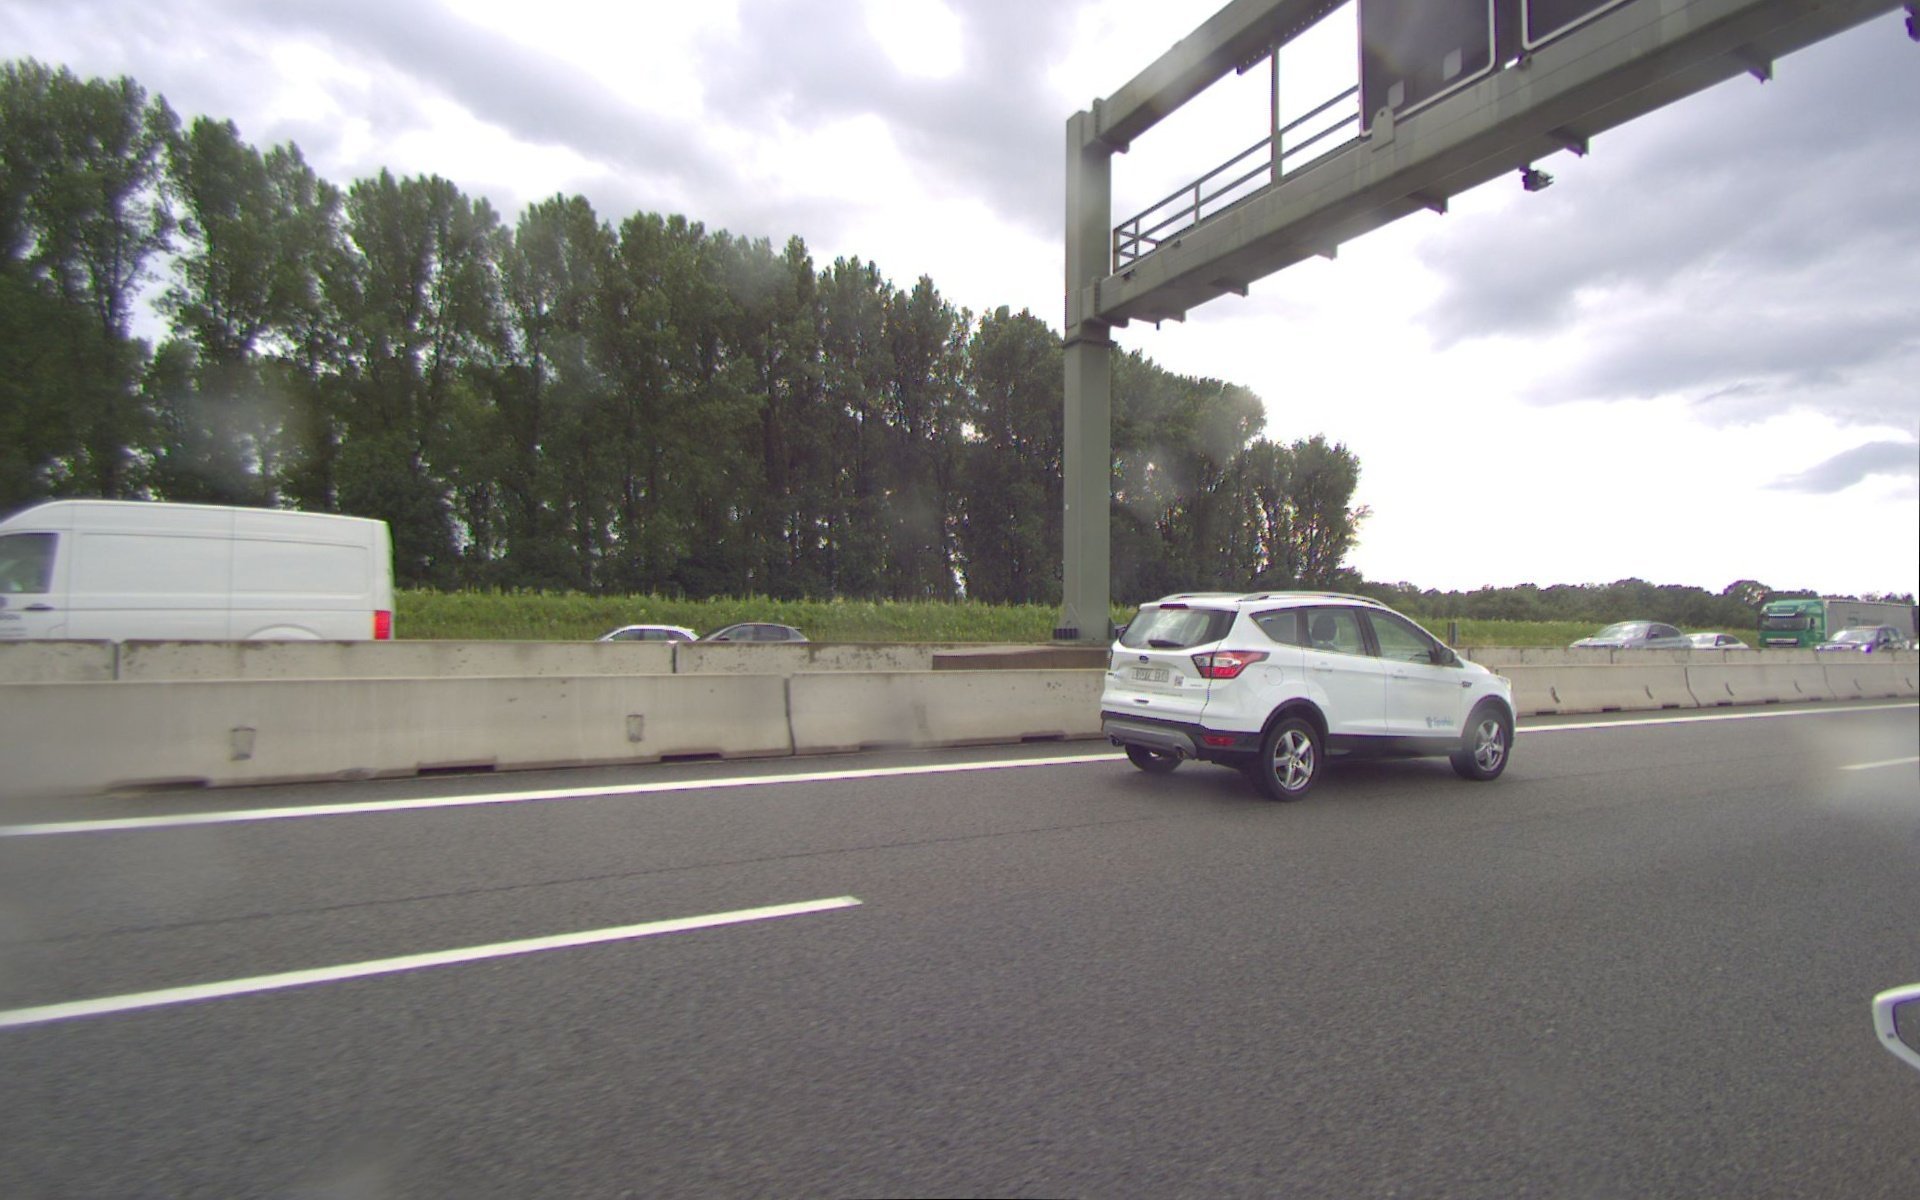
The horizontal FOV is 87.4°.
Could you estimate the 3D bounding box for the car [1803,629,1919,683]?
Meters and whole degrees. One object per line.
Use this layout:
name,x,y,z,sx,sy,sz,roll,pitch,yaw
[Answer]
car,34.941,2.154,38.814,5.125,1.923,1.984,2,-1,-30

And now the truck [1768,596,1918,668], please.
truck,58.200,2.147,65.993,13.786,4.370,3.133,2,-1,-30

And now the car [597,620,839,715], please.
car,-5.792,1.578,24.301,5.342,2.040,1.983,2,-1,-31

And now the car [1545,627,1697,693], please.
car,20.845,1.856,31.631,5.127,1.910,1.983,2,-1,-31

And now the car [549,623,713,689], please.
car,-9.003,1.515,27.540,3.953,1.653,1.860,2,-1,-30

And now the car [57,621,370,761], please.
car,-12.180,1.429,16.787,3.955,2.040,1.983,2,-1,-31

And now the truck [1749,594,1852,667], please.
truck,52.363,1.924,62.593,5.840,4.338,3.105,2,-1,-29

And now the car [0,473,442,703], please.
car,-10.387,-0.095,13.161,6.270,2.650,1.983,2,-1,-31

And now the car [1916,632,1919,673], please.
car,47.321,2.496,47.296,5.017,1.877,1.985,1,-1,-30

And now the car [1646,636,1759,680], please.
car,31.232,2.409,42.241,5.017,1.726,1.985,1,-1,-30

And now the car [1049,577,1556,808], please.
car,3.324,0.745,9.436,4.794,1.712,1.807,1,-1,-30
